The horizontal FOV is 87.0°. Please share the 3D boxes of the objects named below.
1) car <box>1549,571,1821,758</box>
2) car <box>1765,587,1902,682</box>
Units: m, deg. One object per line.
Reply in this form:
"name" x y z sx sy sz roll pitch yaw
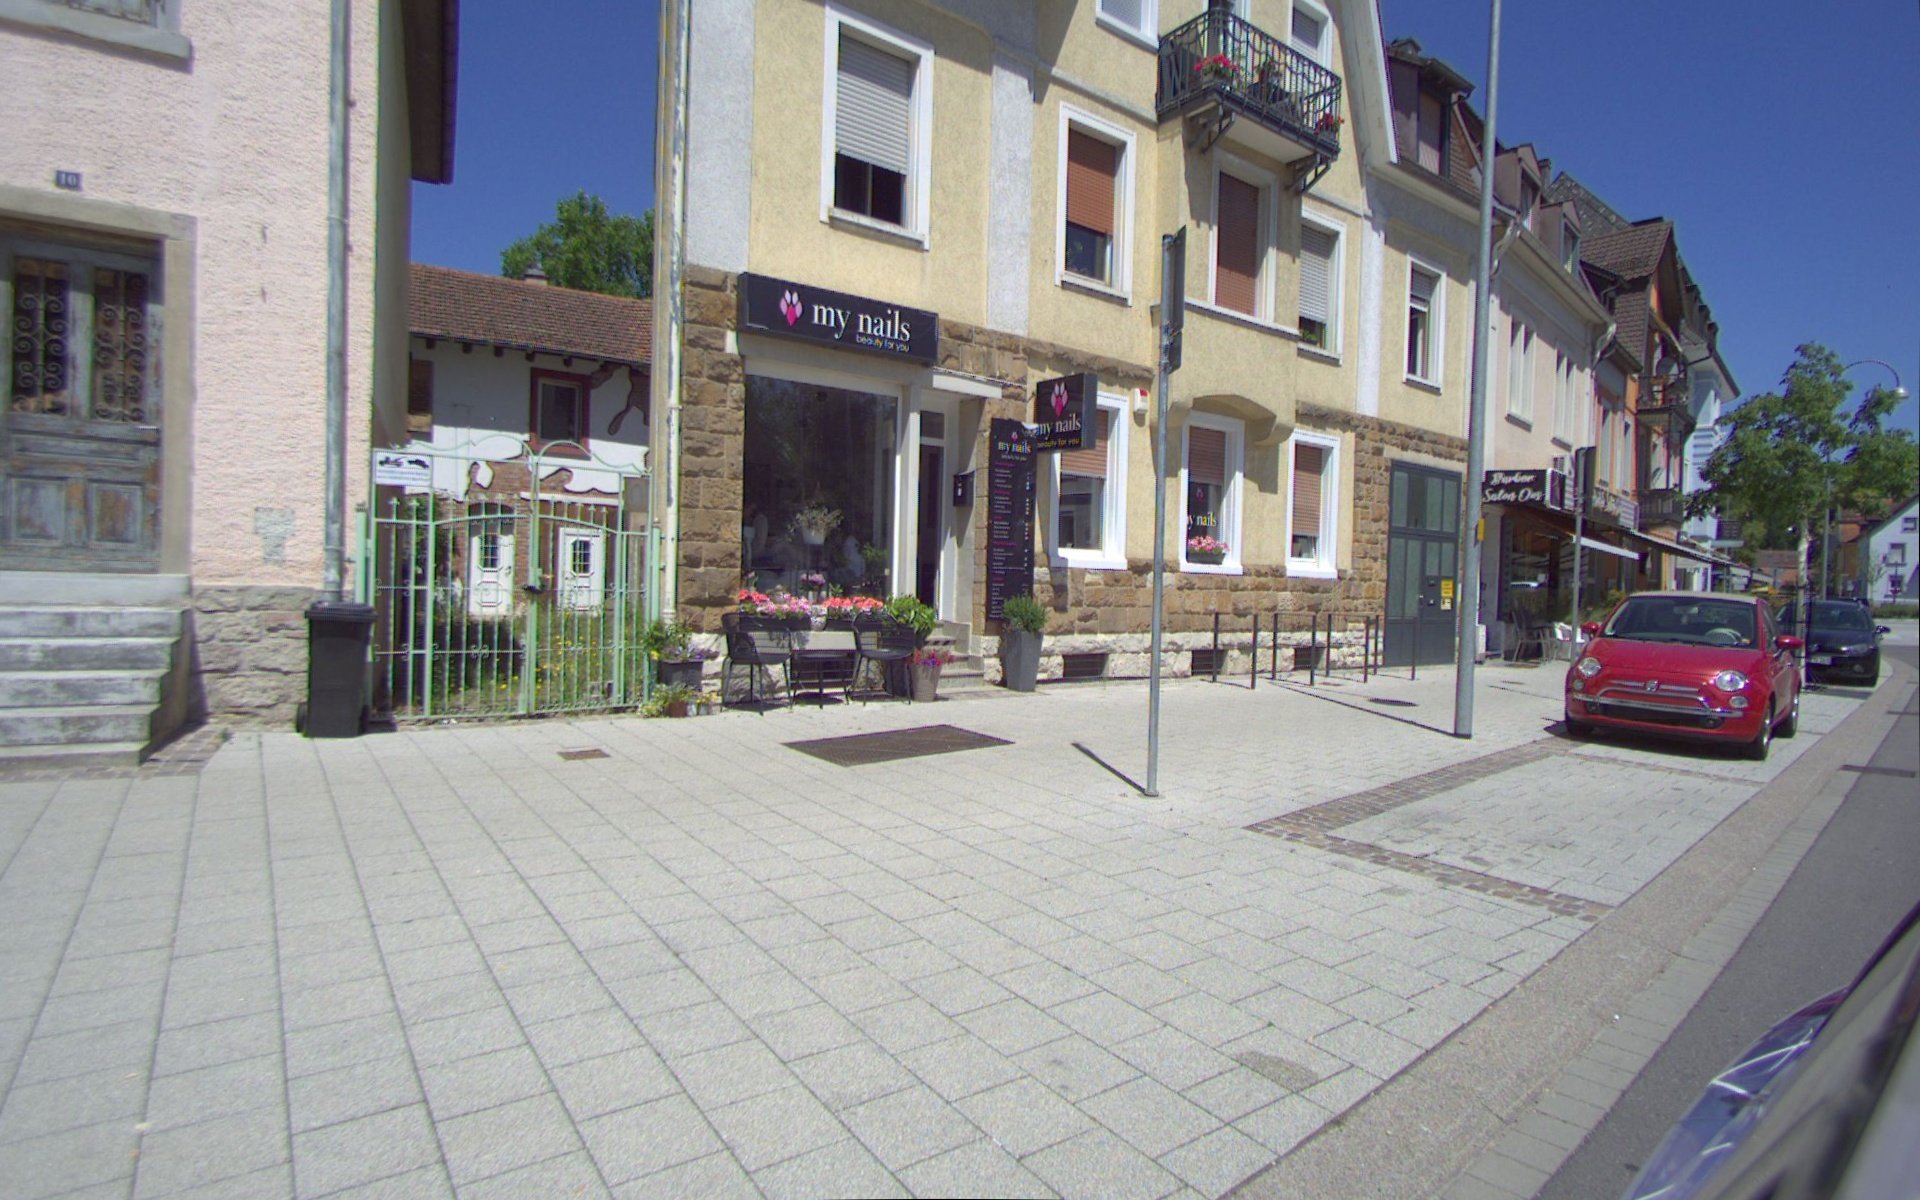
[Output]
"car" 7.499 0.527 10.364 3.331 1.532 1.681 0 3 -45
"car" 16.725 0.562 19.302 1.731 1.490 4.256 6 4 43
